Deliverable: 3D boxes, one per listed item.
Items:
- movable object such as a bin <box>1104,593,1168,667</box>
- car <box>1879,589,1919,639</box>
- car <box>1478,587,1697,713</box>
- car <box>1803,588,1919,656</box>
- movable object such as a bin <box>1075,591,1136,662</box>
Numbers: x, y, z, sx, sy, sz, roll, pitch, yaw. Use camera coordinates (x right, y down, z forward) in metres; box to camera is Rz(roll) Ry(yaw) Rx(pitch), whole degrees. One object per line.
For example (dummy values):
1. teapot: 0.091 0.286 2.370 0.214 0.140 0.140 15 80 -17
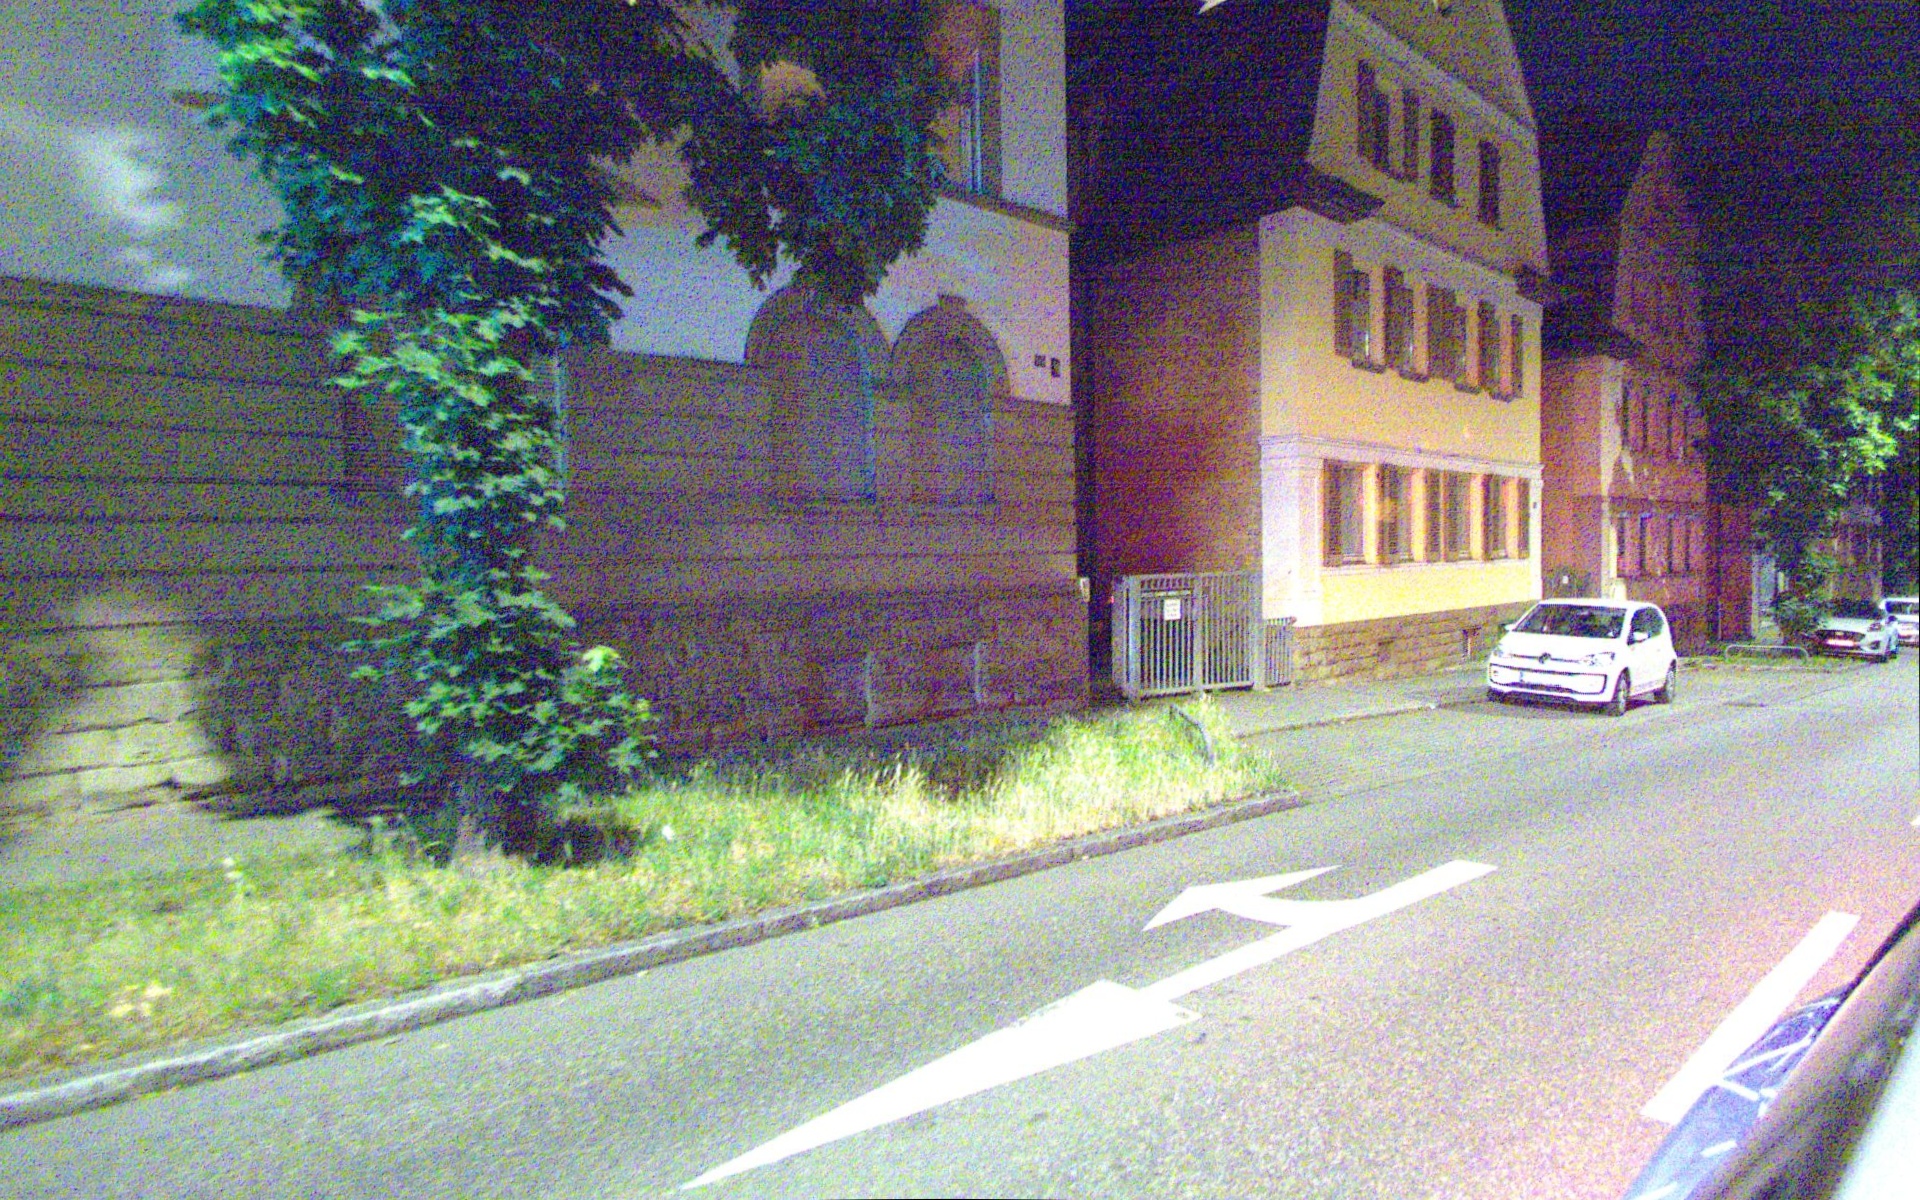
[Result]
1. movable object such as a bin: 2.623 0.429 15.081 0.742 1.062 0.608 0 0 -41
2. car: 33.329 0.480 34.985 4.281 1.616 1.742 0 2 -40
3. car: 8.948 0.609 14.343 3.541 1.503 1.671 0 2 -42
4. car: 23.460 0.518 26.301 3.977 1.572 1.862 0 3 -43
5. movable object such as a bin: 2.250 0.398 15.625 0.742 1.062 0.608 0 0 -41
